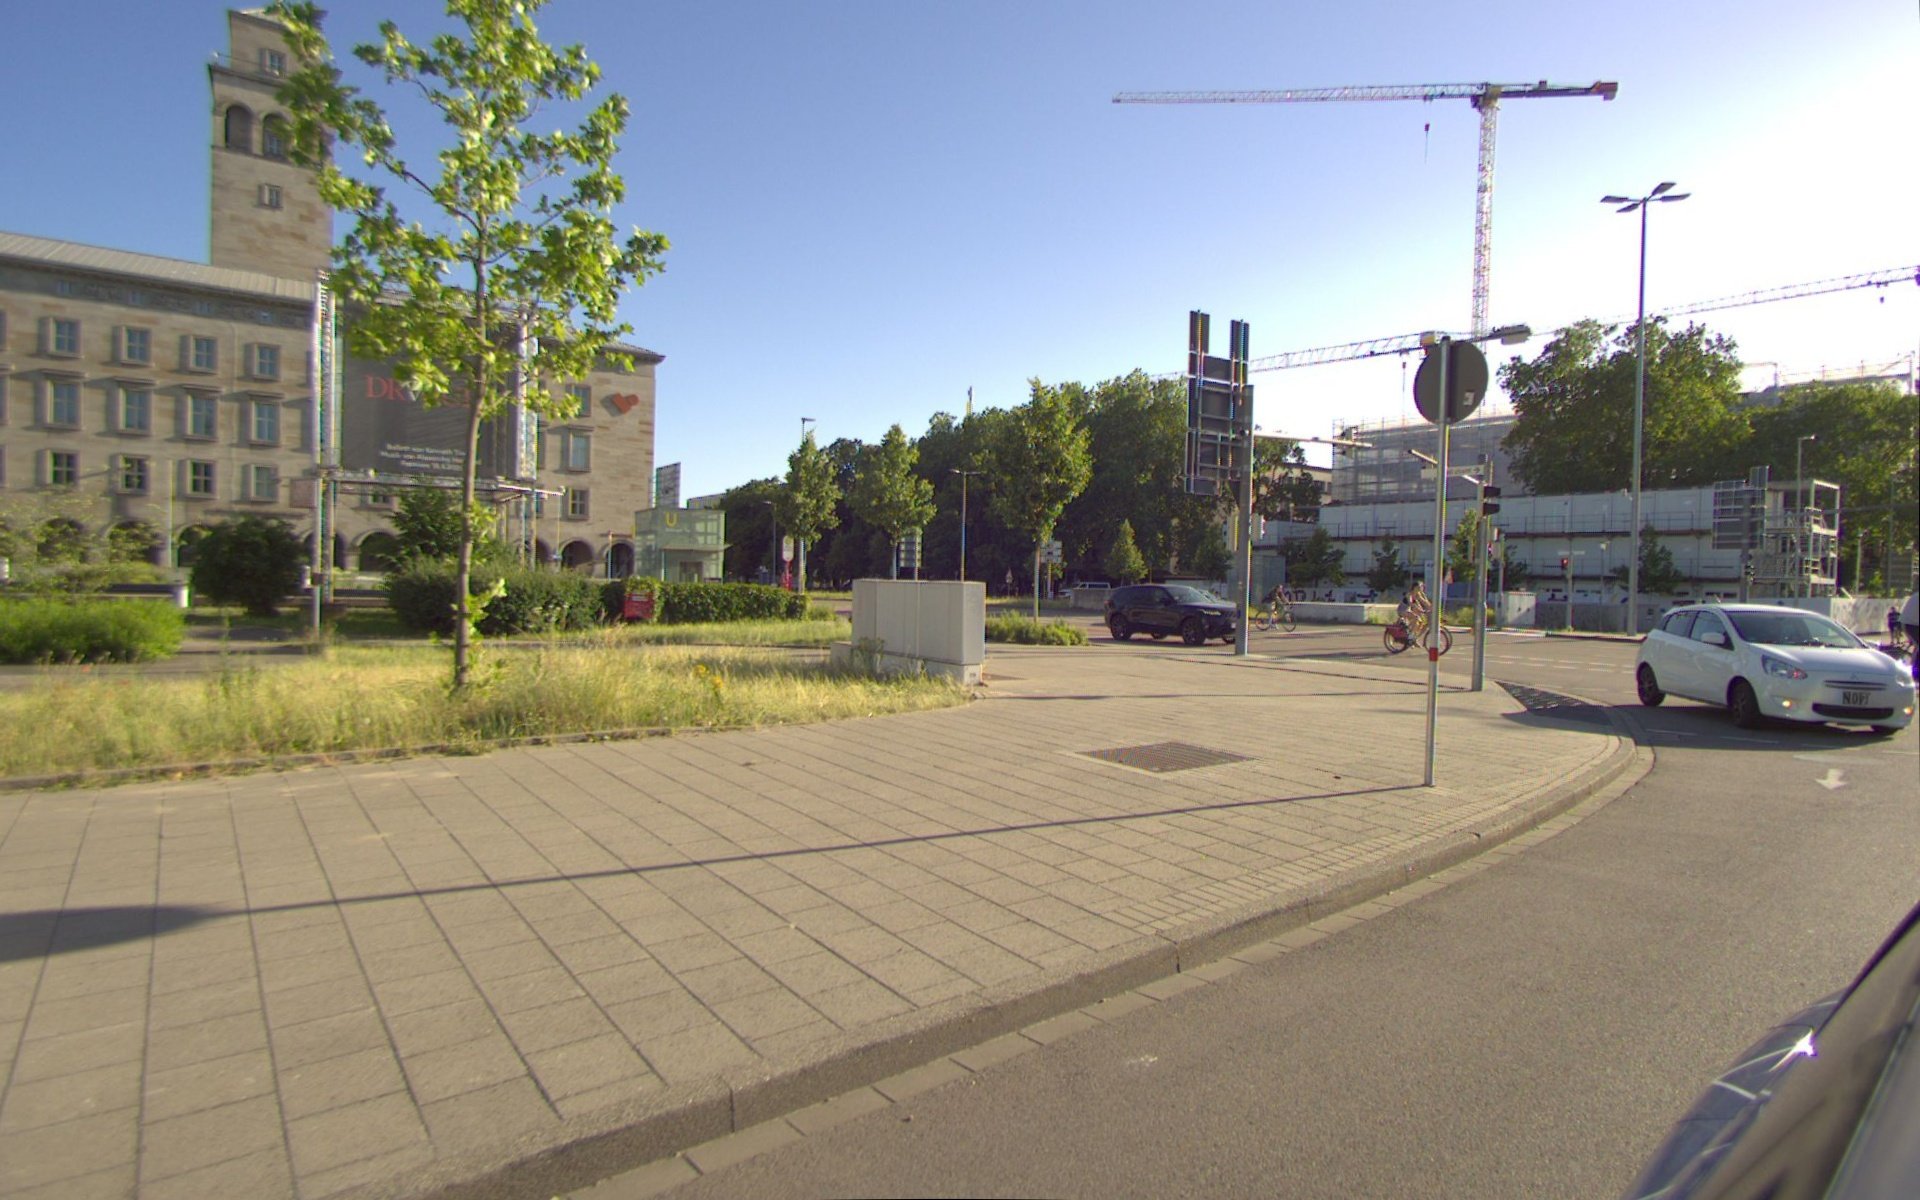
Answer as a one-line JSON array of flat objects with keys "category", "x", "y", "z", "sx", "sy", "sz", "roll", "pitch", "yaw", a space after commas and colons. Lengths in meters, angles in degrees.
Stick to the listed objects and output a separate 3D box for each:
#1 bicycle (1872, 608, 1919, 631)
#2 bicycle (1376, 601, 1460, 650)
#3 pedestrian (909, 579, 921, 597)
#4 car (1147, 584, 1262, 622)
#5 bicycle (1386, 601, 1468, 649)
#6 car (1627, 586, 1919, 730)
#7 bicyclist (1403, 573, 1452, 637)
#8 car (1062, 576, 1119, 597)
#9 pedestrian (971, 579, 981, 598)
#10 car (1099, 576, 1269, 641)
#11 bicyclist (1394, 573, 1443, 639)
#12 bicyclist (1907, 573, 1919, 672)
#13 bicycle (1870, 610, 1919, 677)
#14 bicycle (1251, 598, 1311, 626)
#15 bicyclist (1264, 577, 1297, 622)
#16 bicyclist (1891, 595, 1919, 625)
[{"category": "bicycle", "x": 40.967, "y": 0.851, "z": 43.808, "sx": 0.788, "sy": 0.939, "sz": 2.081, "roll": 0, "pitch": 1, "yaw": -16}, {"category": "bicycle", "x": 11.210, "y": 0.604, "z": 24.836, "sx": 0.640, "sy": 1.108, "sz": 1.801, "roll": 1, "pitch": 1, "yaw": -35}, {"category": "pedestrian", "x": -4.758, "y": -1.282, "z": 106.723, "sx": 0.978, "sy": 1.805, "sz": 0.965, "roll": -1, "pitch": 2, "yaw": -32}, {"category": "car", "x": 9.635, "y": 0.076, "z": 40.227, "sx": 1.742, "sy": 1.368, "sz": 4.530, "roll": -1, "pitch": 2, "yaw": -31}, {"category": "bicycle", "x": 11.740, "y": 0.612, "z": 25.483, "sx": 0.613, "sy": 1.130, "sz": 1.817, "roll": 1, "pitch": 1, "yaw": -34}, {"category": "car", "x": 10.506, "y": 0.617, "z": 13.187, "sx": 1.635, "sy": 1.489, "sz": 3.957, "roll": 0, "pitch": 2, "yaw": 11}, {"category": "bicyclist", "x": 11.761, "y": 0.114, "z": 25.475, "sx": 0.613, "sy": 1.594, "sz": 0.895, "roll": 1, "pitch": 1, "yaw": -34}, {"category": "car", "x": 12.495, "y": -1.258, "z": 96.772, "sx": 5.222, "sy": 1.915, "sz": 2.003, "roll": 0, "pitch": 0, "yaw": -28}, {"category": "pedestrian", "x": 1.488, "y": -1.081, "z": 95.679, "sx": 0.652, "sy": 1.748, "sz": 0.698, "roll": 1, "pitch": 1, "yaw": -33}, {"category": "car", "x": 6.361, "y": 0.176, "z": 29.313, "sx": 1.961, "sy": 1.683, "sz": 4.795, "roll": 1, "pitch": 1, "yaw": -33}, {"category": "bicyclist", "x": 11.236, "y": 0.139, "z": 24.810, "sx": 0.640, "sy": 1.562, "sz": 0.847, "roll": 1, "pitch": 1, "yaw": -35}, {"category": "bicyclist", "x": 16.740, "y": 0.395, "z": 17.161, "sx": 0.687, "sy": 1.690, "sz": 0.787, "roll": 1, "pitch": 1, "yaw": -27}, {"category": "bicycle", "x": 16.743, "y": 0.762, "z": 17.168, "sx": 0.694, "sy": 1.108, "sz": 1.803, "roll": 1, "pitch": 1, "yaw": -27}, {"category": "bicycle", "x": 11.140, "y": 0.405, "z": 35.177, "sx": 1.900, "sy": 0.920, "sz": 0.616, "roll": 1, "pitch": 2, "yaw": 39}, {"category": "bicyclist", "x": 11.138, "y": -0.036, "z": 35.180, "sx": 0.933, "sy": 1.522, "sz": 0.616, "roll": 1, "pitch": 1, "yaw": 38}, {"category": "bicyclist", "x": 40.975, "y": 0.412, "z": 43.827, "sx": 0.788, "sy": 1.286, "sz": 0.639, "roll": 0, "pitch": 0, "yaw": -16}]
